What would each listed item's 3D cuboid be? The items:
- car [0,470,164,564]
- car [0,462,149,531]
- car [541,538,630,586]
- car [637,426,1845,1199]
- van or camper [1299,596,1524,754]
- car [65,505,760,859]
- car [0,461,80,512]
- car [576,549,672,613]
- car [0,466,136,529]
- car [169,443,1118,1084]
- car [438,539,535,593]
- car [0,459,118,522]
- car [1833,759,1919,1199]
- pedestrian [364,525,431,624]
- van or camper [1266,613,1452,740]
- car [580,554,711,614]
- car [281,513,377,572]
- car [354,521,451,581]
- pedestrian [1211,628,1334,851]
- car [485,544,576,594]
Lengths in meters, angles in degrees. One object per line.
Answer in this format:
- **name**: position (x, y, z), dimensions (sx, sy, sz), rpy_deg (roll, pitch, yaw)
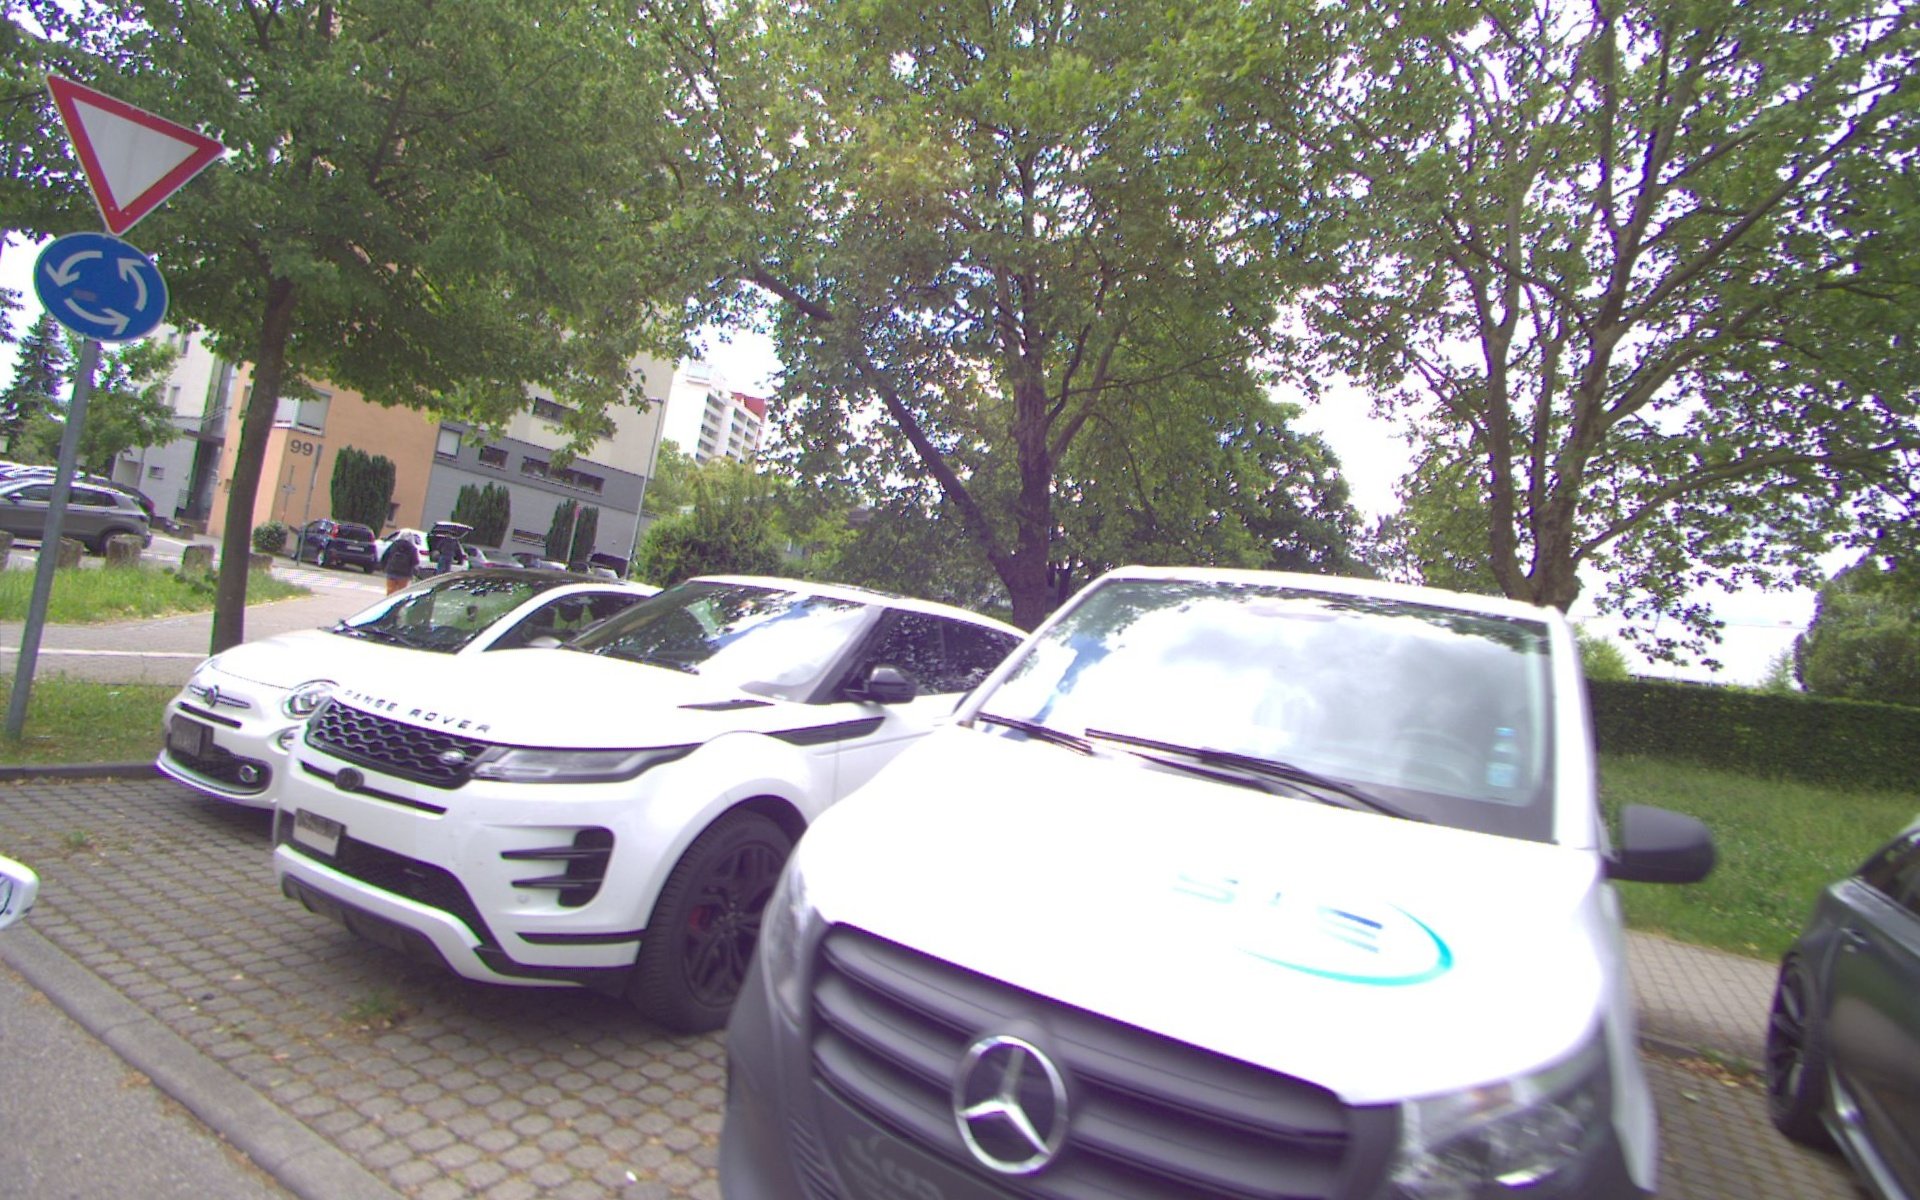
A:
- **car**: position (-20.733, -1.953, 22.627), dimensions (1.695, 1.637, 4.001), rpy_deg (7, -1, 34)
- **car**: position (-31.067, -3.592, 35.031), dimensions (1.731, 1.534, 4.041), rpy_deg (7, -3, 41)
- **car**: position (-15.607, -1.593, 41.824), dimensions (3.720, 1.500, 1.636), rpy_deg (8, 0, 38)
- **car**: position (1.424, 0.854, 3.676), dimensions (1.813, 1.853, 4.780), rpy_deg (7, -1, 33)
- **van or camper**: position (10.298, 1.715, 22.911), dimensions (4.433, 2.829, 2.101), rpy_deg (11, -2, -28)
- **car**: position (-3.086, 0.500, 6.496), dimensions (1.707, 1.478, 3.525), rpy_deg (7, -2, 23)
- **car**: position (-38.784, -4.816, 41.117), dimensions (1.733, 1.534, 3.979), rpy_deg (7, -3, 43)
- **car**: position (-14.556, -0.827, 43.466), dimensions (3.917, 2.184, 1.826), rpy_deg (8, -2, 38)
- **car**: position (-33.017, -3.741, 37.006), dimensions (1.669, 1.474, 3.827), rpy_deg (7, -3, 41)
- **car**: position (-0.875, 0.611, 4.868), dimensions (1.709, 1.619, 4.163), rpy_deg (8, -3, 30)
- **car**: position (-17.487, -1.272, 37.098), dimensions (3.720, 1.500, 1.636), rpy_deg (8, 0, 38)
- **car**: position (-34.945, -4.227, 38.244), dimensions (1.668, 1.611, 4.122), rpy_deg (8, -3, 39)
- **car**: position (3.179, 1.227, 1.837), dimensions (1.813, 1.387, 3.828), rpy_deg (7, -1, 35)
- **pedestrian**: position (-10.287, -0.471, 18.406), dimensions (0.829, 1.683, 0.612), rpy_deg (8, -2, 42)
- **van or camper**: position (11.422, 2.179, 28.810), dimensions (4.424, 2.829, 2.105), rpy_deg (10, -2, -22)
- **car**: position (-11.888, -0.558, 38.362), dimensions (1.946, 1.664, 4.531), rpy_deg (8, -1, 29)
- **car**: position (-20.830, -1.907, 33.170), dimensions (3.473, 1.493, 1.500), rpy_deg (8, -1, 38)
- **car**: position (-19.847, -1.747, 35.780), dimensions (3.720, 1.679, 1.568), rpy_deg (8, 0, 38)
- **pedestrian**: position (2.611, 1.140, 8.346), dimensions (0.583, 1.675, 0.872), rpy_deg (8, -2, 30)
- **car**: position (-17.012, -1.237, 39.796), dimensions (3.720, 1.500, 1.636), rpy_deg (8, 0, 38)
